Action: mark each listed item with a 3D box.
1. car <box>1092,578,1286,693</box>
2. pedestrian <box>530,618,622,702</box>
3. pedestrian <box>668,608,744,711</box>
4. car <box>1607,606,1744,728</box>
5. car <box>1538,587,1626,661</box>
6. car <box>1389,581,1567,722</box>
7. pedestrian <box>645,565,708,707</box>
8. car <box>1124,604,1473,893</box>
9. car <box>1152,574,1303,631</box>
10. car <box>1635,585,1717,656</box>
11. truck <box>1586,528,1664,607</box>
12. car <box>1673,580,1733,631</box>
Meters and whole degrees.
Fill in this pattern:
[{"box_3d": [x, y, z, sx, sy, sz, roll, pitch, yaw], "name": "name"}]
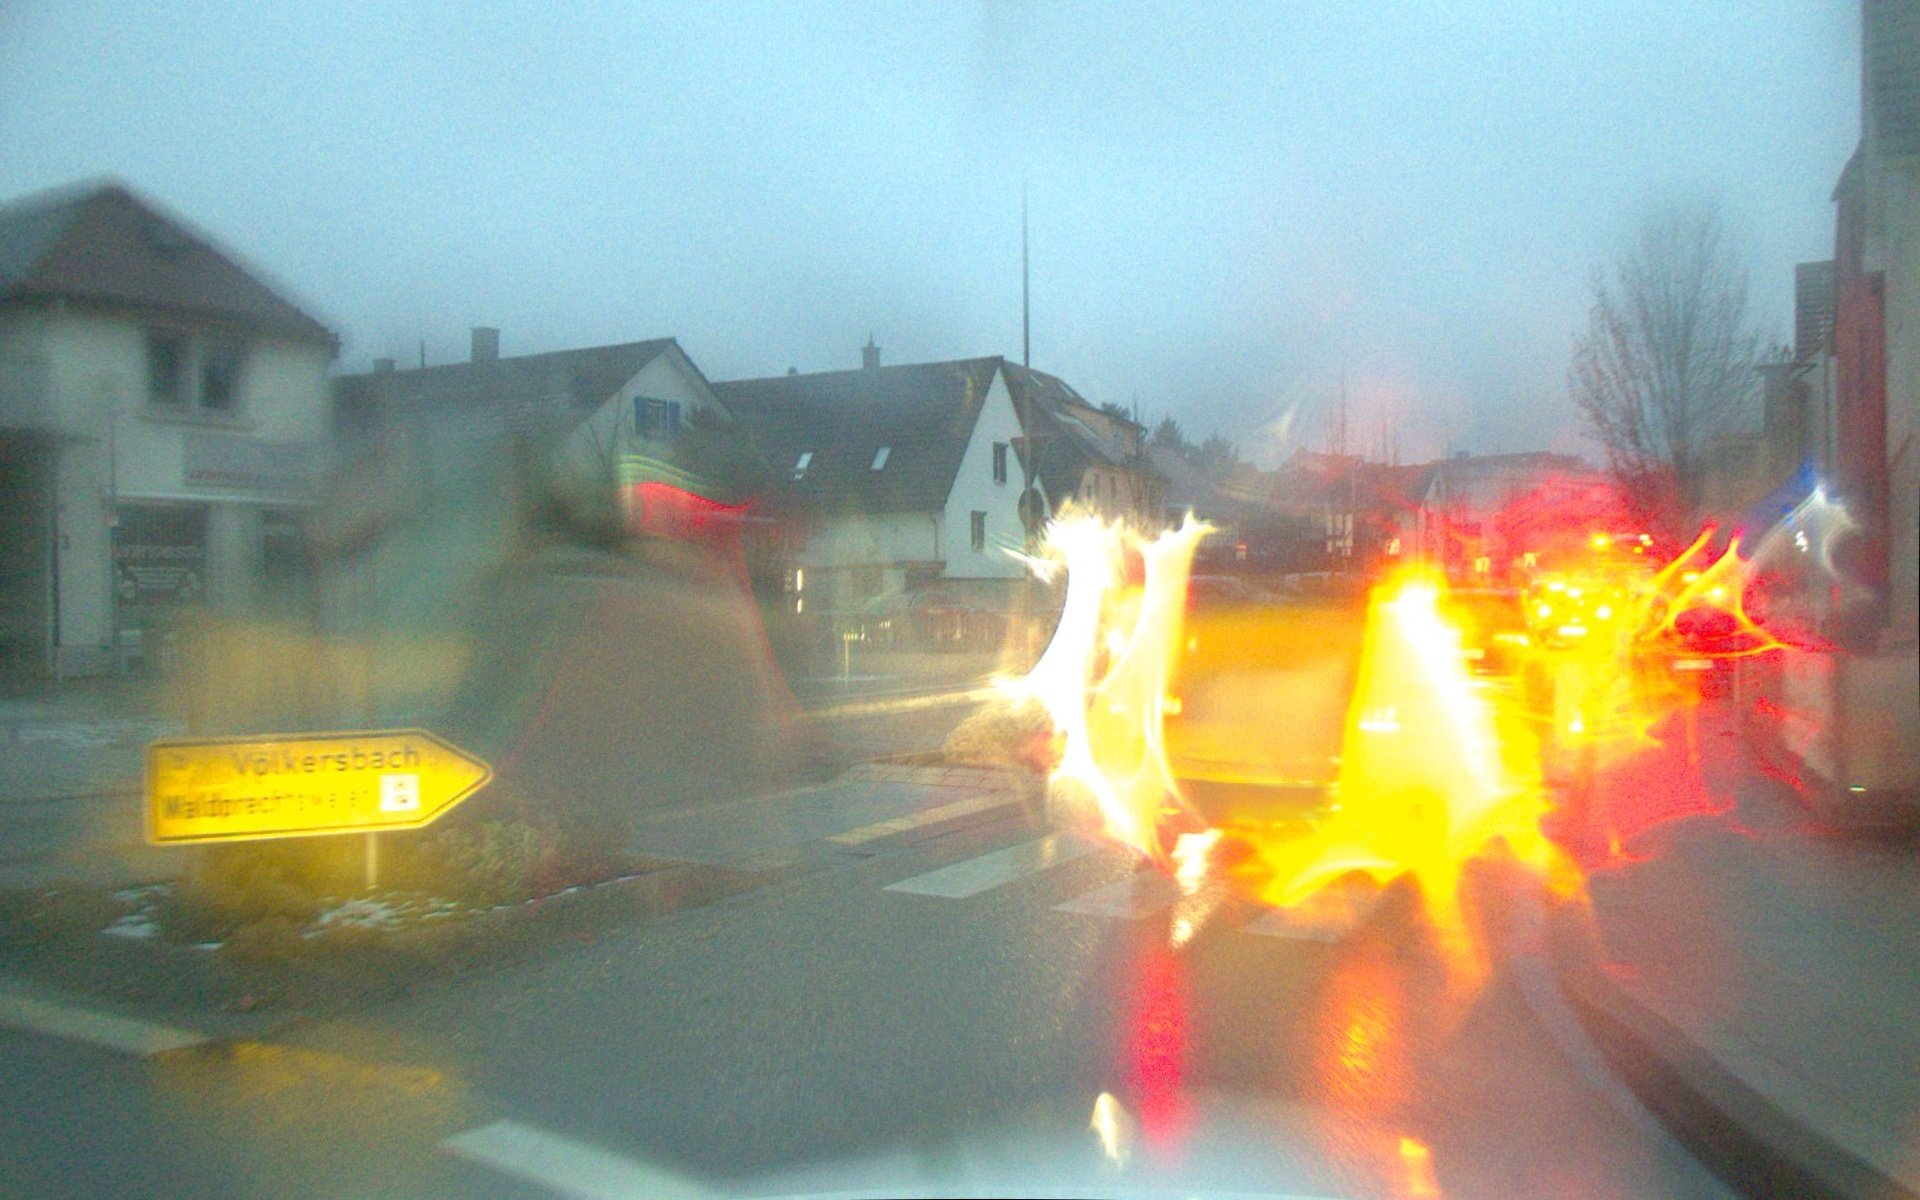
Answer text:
[{"box_3d": [3.579, 0.465, 25.261, 1.707, 1.596, 4.057, 0, 1, 27], "name": "car"}, {"box_3d": [-4.916, 0.758, 21.188, 0.843, 1.028, 0.811, 0, 1, 21], "name": "pedestrian"}, {"box_3d": [-3.486, 0.797, 22.752, 0.768, 1.371, 0.716, 0, 0, 25], "name": "pedestrian"}, {"box_3d": [10.925, 0.944, 25.190, 1.775, 1.598, 3.848, 0, 1, 25], "name": "car"}, {"box_3d": [15.234, 0.543, 40.403, 1.688, 1.660, 3.997, 0, 1, 25], "name": "car"}, {"box_3d": [6.984, 0.606, 22.038, 1.877, 1.643, 3.949, 0, 1, 23], "name": "car"}, {"box_3d": [-3.748, 0.465, 21.908, 0.713, 1.849, 0.531, 0, 0, 2], "name": "pedestrian"}, {"box_3d": [2.412, 0.797, 10.972, 1.674, 1.446, 4.013, 0, 1, 20], "name": "car"}, {"box_3d": [8.038, 0.070, 49.669, 4.218, 1.668, 1.847, 0, 1, 21], "name": "car"}, {"box_3d": [16.737, 0.444, 38.563, 1.657, 1.493, 3.717, 0, 1, 25], "name": "car"}, {"box_3d": [27.225, -1.306, 67.551, 2.661, 3.063, 5.989, 0, 1, 25], "name": "truck"}, {"box_3d": [23.212, 0.141, 51.651, 1.657, 1.493, 3.717, 0, 1, 25], "name": "car"}]
